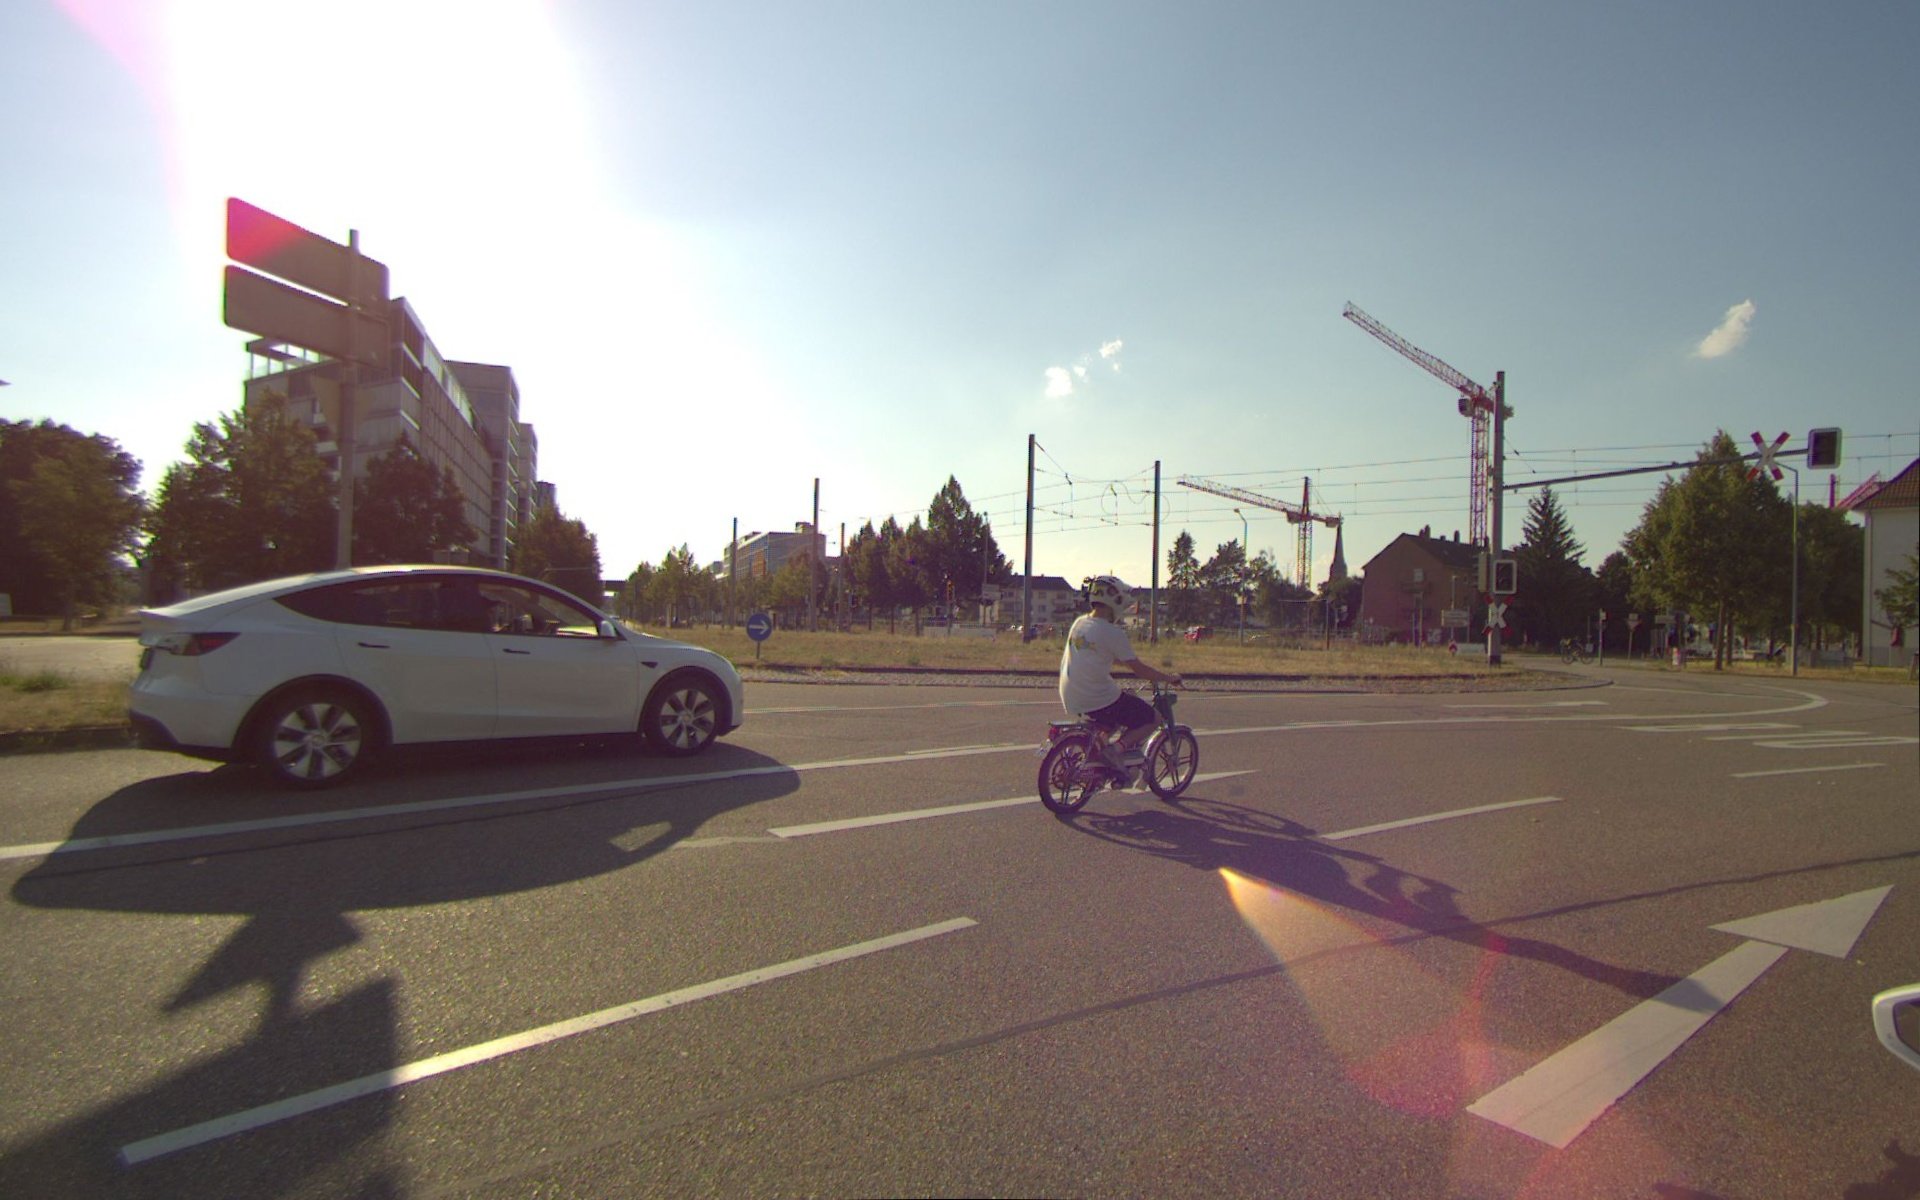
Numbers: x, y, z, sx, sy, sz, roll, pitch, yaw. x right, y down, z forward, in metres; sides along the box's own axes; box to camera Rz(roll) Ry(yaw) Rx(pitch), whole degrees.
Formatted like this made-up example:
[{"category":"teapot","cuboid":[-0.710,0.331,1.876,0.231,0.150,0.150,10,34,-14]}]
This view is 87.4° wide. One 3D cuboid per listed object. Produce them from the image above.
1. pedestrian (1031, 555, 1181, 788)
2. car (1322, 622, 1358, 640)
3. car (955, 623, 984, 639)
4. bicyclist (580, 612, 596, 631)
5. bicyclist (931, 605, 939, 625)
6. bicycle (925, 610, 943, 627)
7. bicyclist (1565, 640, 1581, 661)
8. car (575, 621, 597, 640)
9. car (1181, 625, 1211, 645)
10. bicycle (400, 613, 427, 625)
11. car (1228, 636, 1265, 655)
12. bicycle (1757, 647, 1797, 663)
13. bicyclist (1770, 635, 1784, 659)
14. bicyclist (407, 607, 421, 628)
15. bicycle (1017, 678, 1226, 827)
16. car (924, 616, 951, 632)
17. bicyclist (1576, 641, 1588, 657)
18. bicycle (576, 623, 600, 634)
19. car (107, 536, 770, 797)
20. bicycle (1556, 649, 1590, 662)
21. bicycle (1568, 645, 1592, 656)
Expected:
[{"category":"pedestrian","cuboid":[1.048,0.483,7.172,0.848,1.539,0.649,2,-1,-44]},{"category":"car","cuboid":[47.336,3.841,125.212,1.661,2.040,3.770,3,-2,-45]},{"category":"car","cuboid":[1.230,3.975,129.148,1.976,2.040,3.969,2,-1,-29]},{"category":"bicyclist","cuboid":[-28.342,1.641,76.499,0.948,1.375,0.686,2,-1,-37]},{"category":"bicyclist","cuboid":[-2.188,1.338,87.474,0.596,1.694,0.478,2,-1,6]},{"category":"bicycle","cuboid":[-2.242,1.606,87.464,1.513,1.493,0.480,1,-1,6]},{"category":"bicyclist","cuboid":[42.267,3.501,69.272,0.883,1.415,0.526,1,-1,21]},{"category":"car","cuboid":[-31.318,2.550,84.077,1.461,1.495,3.288,2,-1,-17]},{"category":"car","cuboid":[23.823,3.481,101.386,1.888,1.878,3.999,1,-1,-3]},{"category":"bicycle","cuboid":[-36.864,1.273,67.763,0.471,0.754,1.722,1,-1,19]},{"category":"car","cuboid":[32.741,5.184,114.850,1.661,2.040,3.770,3,-2,-45]},{"category":"bicycle","cuboid":[51.795,3.491,63.701,1.955,0.930,0.430,1,-1,21]},{"category":"bicyclist","cuboid":[51.819,2.988,63.706,0.612,1.531,0.419,1,-1,21]},{"category":"bicyclist","cuboid":[-36.870,1.183,67.838,0.508,1.343,0.654,1,-1,19]},{"category":"bicycle","cuboid":[1.227,1.051,7.312,1.843,0.887,0.473,2,-1,-44]},{"category":"car","cuboid":[-3.110,3.265,136.422,1.976,2.040,3.969,2,-1,-29]},{"category":"bicyclist","cuboid":[63.603,5.050,102.732,0.876,1.583,0.660,2,-1,5]},{"category":"bicycle","cuboid":[-28.344,2.174,76.539,1.605,0.871,0.539,2,-1,-37]},{"category":"car","cuboid":[-4.072,0.485,8.495,4.647,1.620,1.717,3,-1,-45]},{"category":"bicycle","cuboid":[42.293,3.842,69.283,1.955,0.836,0.430,1,-1,21]},{"category":"bicycle","cuboid":[63.423,5.156,102.739,2.063,0.976,0.599,2,-1,3]}]
